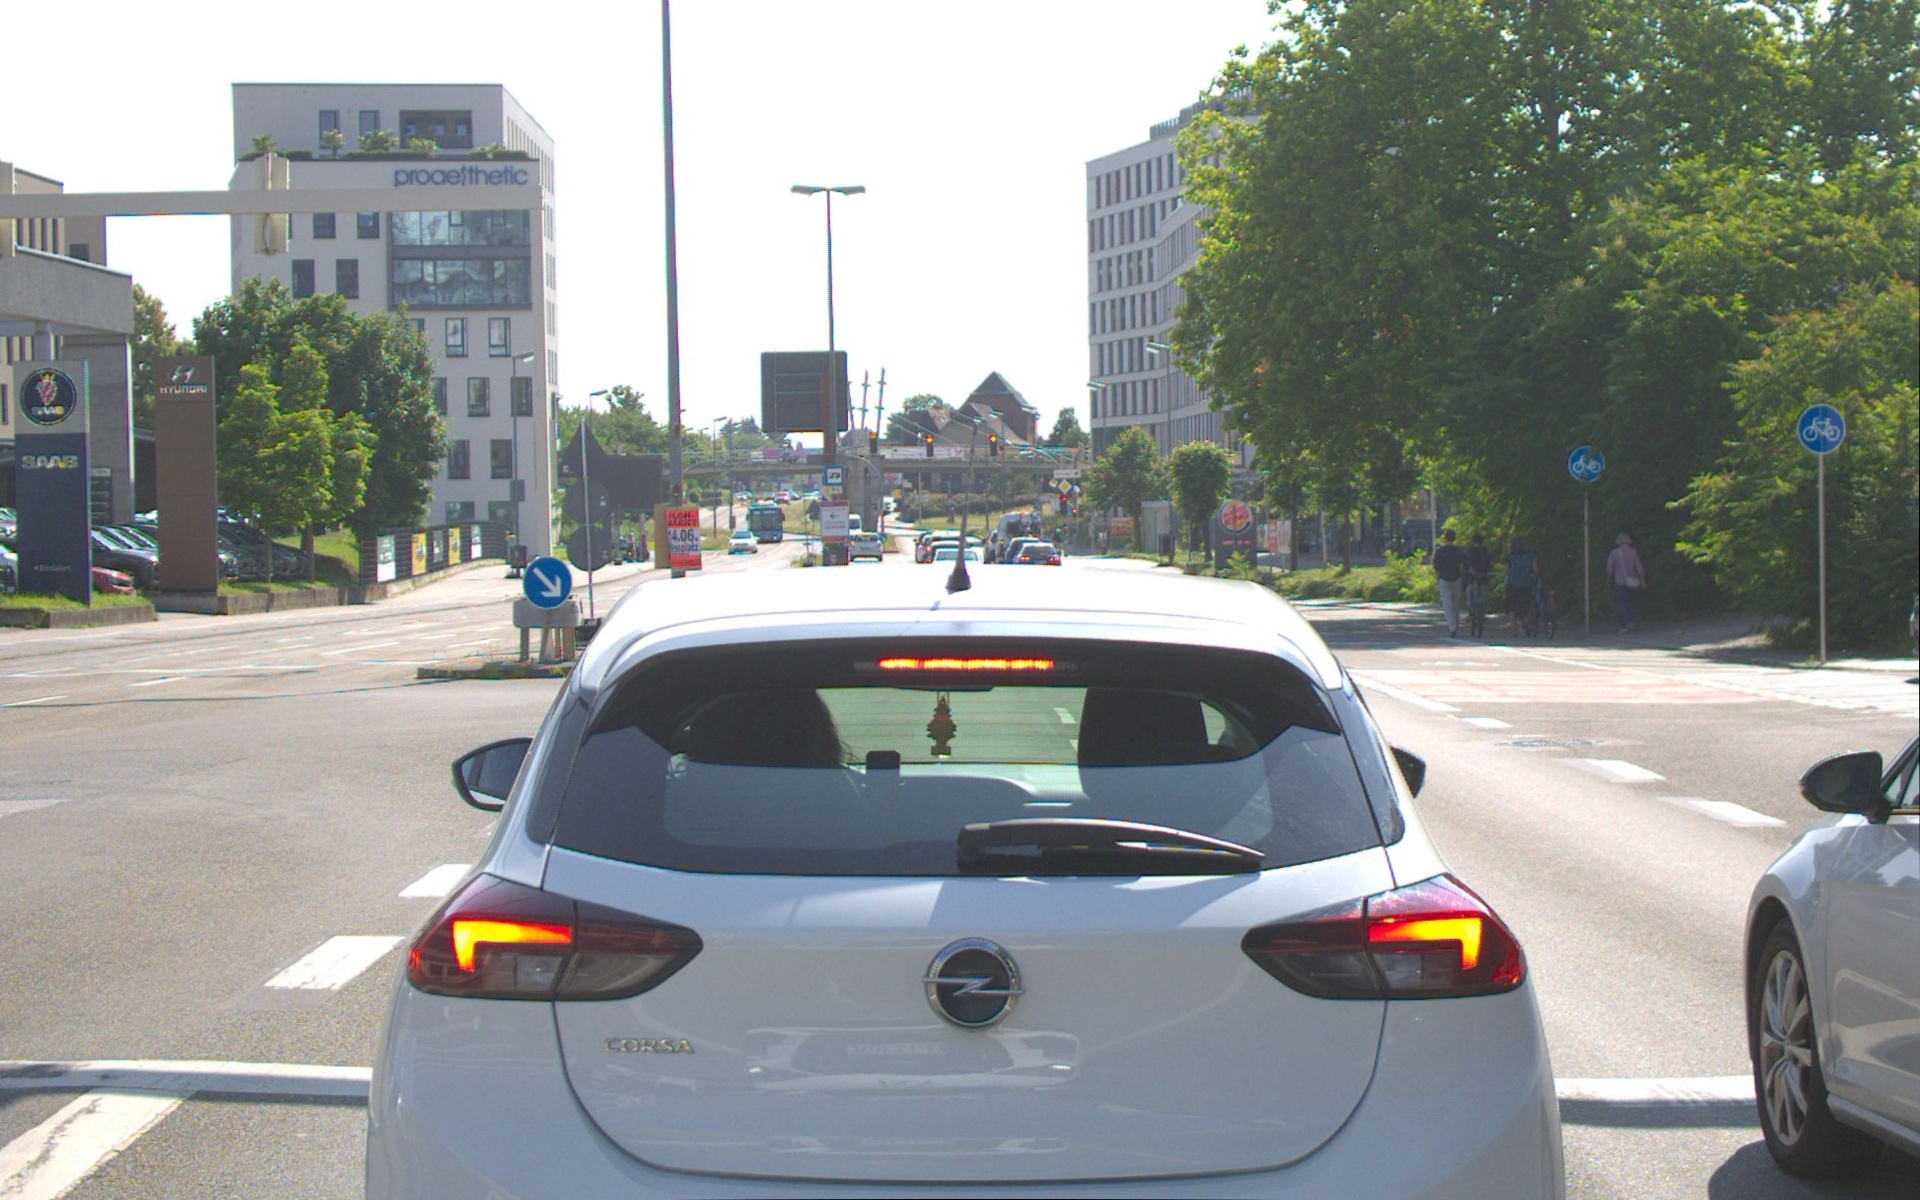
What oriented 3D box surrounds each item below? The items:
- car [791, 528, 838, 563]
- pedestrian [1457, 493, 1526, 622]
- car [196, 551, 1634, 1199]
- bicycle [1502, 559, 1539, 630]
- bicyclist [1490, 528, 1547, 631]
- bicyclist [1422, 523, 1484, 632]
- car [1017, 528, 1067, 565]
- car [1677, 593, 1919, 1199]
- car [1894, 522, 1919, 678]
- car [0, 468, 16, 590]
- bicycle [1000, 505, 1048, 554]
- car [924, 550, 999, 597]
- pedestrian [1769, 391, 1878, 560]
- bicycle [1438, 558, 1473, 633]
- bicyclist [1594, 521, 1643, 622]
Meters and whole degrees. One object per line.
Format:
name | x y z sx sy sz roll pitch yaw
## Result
car | -6.030 -2.243 142.661 1.806 1.381 4.000 1 0 -1
pedestrian | 9.347 -0.747 60.474 1.027 2.231 1.039 -1 1 -1
car | -0.078 0.672 6.279 1.779 1.489 4.000 -1 1 -1
bicycle | 9.075 -0.092 55.719 0.373 1.143 1.034 1 0 -3
bicyclist | 9.057 -0.337 55.790 0.688 1.637 0.777 -1 1 -9
bicyclist | 8.130 -0.374 56.714 0.879 1.766 0.864 -1 1 0
car | 3.199 -2.083 135.291 1.806 1.381 4.000 1 0 -1
car | 2.831 0.710 6.836 1.807 1.424 4.000 -1 1 -2
car | 11.888 -0.127 34.898 4.421 1.546 1.999 -3 1 10
car | -22.559 -1.482 73.049 4.357 2.592 2.000 -1 1 5
bicycle | 2.871 -3.172 155.501 1.993 2.150 4.000 -1 1 -1
car | 0.025 -0.785 101.665 1.993 1.327 4.000 1 0 -3
pedestrian | 10.455 -1.497 41.656 1.027 2.007 1.039 -1 1 -1
bicycle | 8.166 -0.085 56.700 0.372 1.212 1.154 1 1 -1
bicyclist | 10.800 -0.467 56.373 0.652 1.631 0.659 1 0 0
